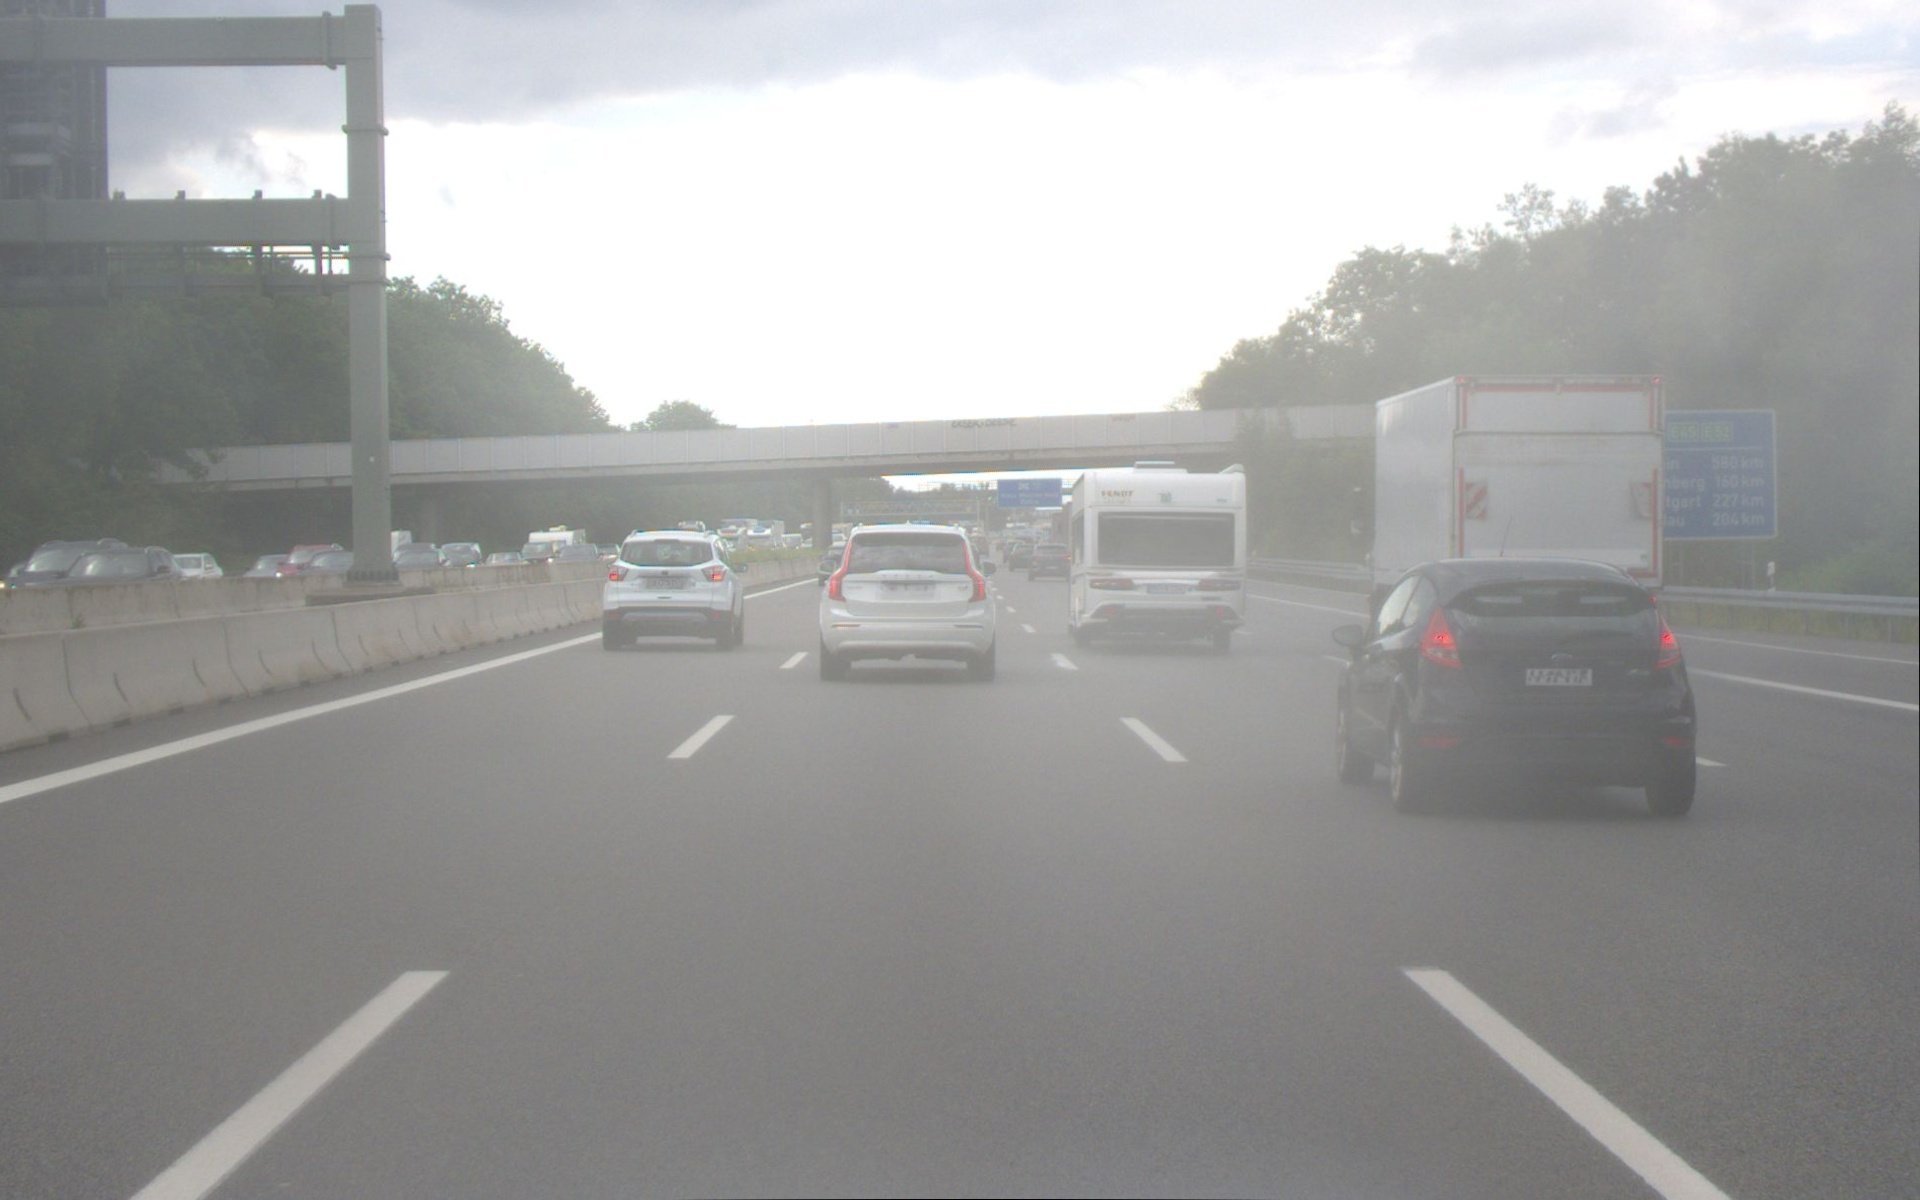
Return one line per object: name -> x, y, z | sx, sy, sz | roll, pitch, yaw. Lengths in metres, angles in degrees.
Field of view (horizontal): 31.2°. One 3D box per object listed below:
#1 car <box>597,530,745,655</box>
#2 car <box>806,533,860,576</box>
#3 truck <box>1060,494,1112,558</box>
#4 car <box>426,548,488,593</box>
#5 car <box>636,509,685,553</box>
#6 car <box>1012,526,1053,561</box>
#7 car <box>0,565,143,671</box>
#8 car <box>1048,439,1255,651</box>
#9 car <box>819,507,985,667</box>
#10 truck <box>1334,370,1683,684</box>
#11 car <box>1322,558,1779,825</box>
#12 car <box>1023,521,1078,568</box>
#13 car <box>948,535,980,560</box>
car -> -4.126, -0.152, 49.704 | 1.815, 1.684, 4.852 | 0, 1, -1
car -> -4.485, -1.630, 121.848 | 1.781, 1.476, 4.353 | 0, 1, 0
truck -> 7.651, -4.529, 210.218 | 2.906, 3.797, 7.274 | 0, 1, 0
car -> -22.471, -1.327, 153.741 | 1.993, 1.945, 5.225 | 0, 1, 0
car -> -15.053, -3.458, 172.813 | 1.993, 2.174, 5.289 | 0, 1, 0
car -> 3.768, -2.979, 180.317 | 2.043, 1.817, 4.904 | 0, 1, 0
car -> -17.978, 0.320, 69.101 | 1.993, 2.007, 4.760 | 0, 1, 0
car -> 2.719, -0.826, 50.856 | 2.567, 2.885, 7.534 | 0, 1, 0
car -> -0.613, -0.183, 39.250 | 1.781, 1.710, 4.353 | 0, 1, 0
truck -> 7.012, -0.962, 45.563 | 3.133, 3.697, 9.848 | 0, 1, 1
car -> 3.400, 0.467, 20.615 | 1.885, 1.402, 4.283 | 0, 1, -2
car -> 3.558, -2.194, 135.741 | 2.043, 1.817, 4.904 | 0, 1, 0
car -> 0.267, -3.571, 233.562 | 1.881, 1.680, 4.001 | 0, 1, -3
